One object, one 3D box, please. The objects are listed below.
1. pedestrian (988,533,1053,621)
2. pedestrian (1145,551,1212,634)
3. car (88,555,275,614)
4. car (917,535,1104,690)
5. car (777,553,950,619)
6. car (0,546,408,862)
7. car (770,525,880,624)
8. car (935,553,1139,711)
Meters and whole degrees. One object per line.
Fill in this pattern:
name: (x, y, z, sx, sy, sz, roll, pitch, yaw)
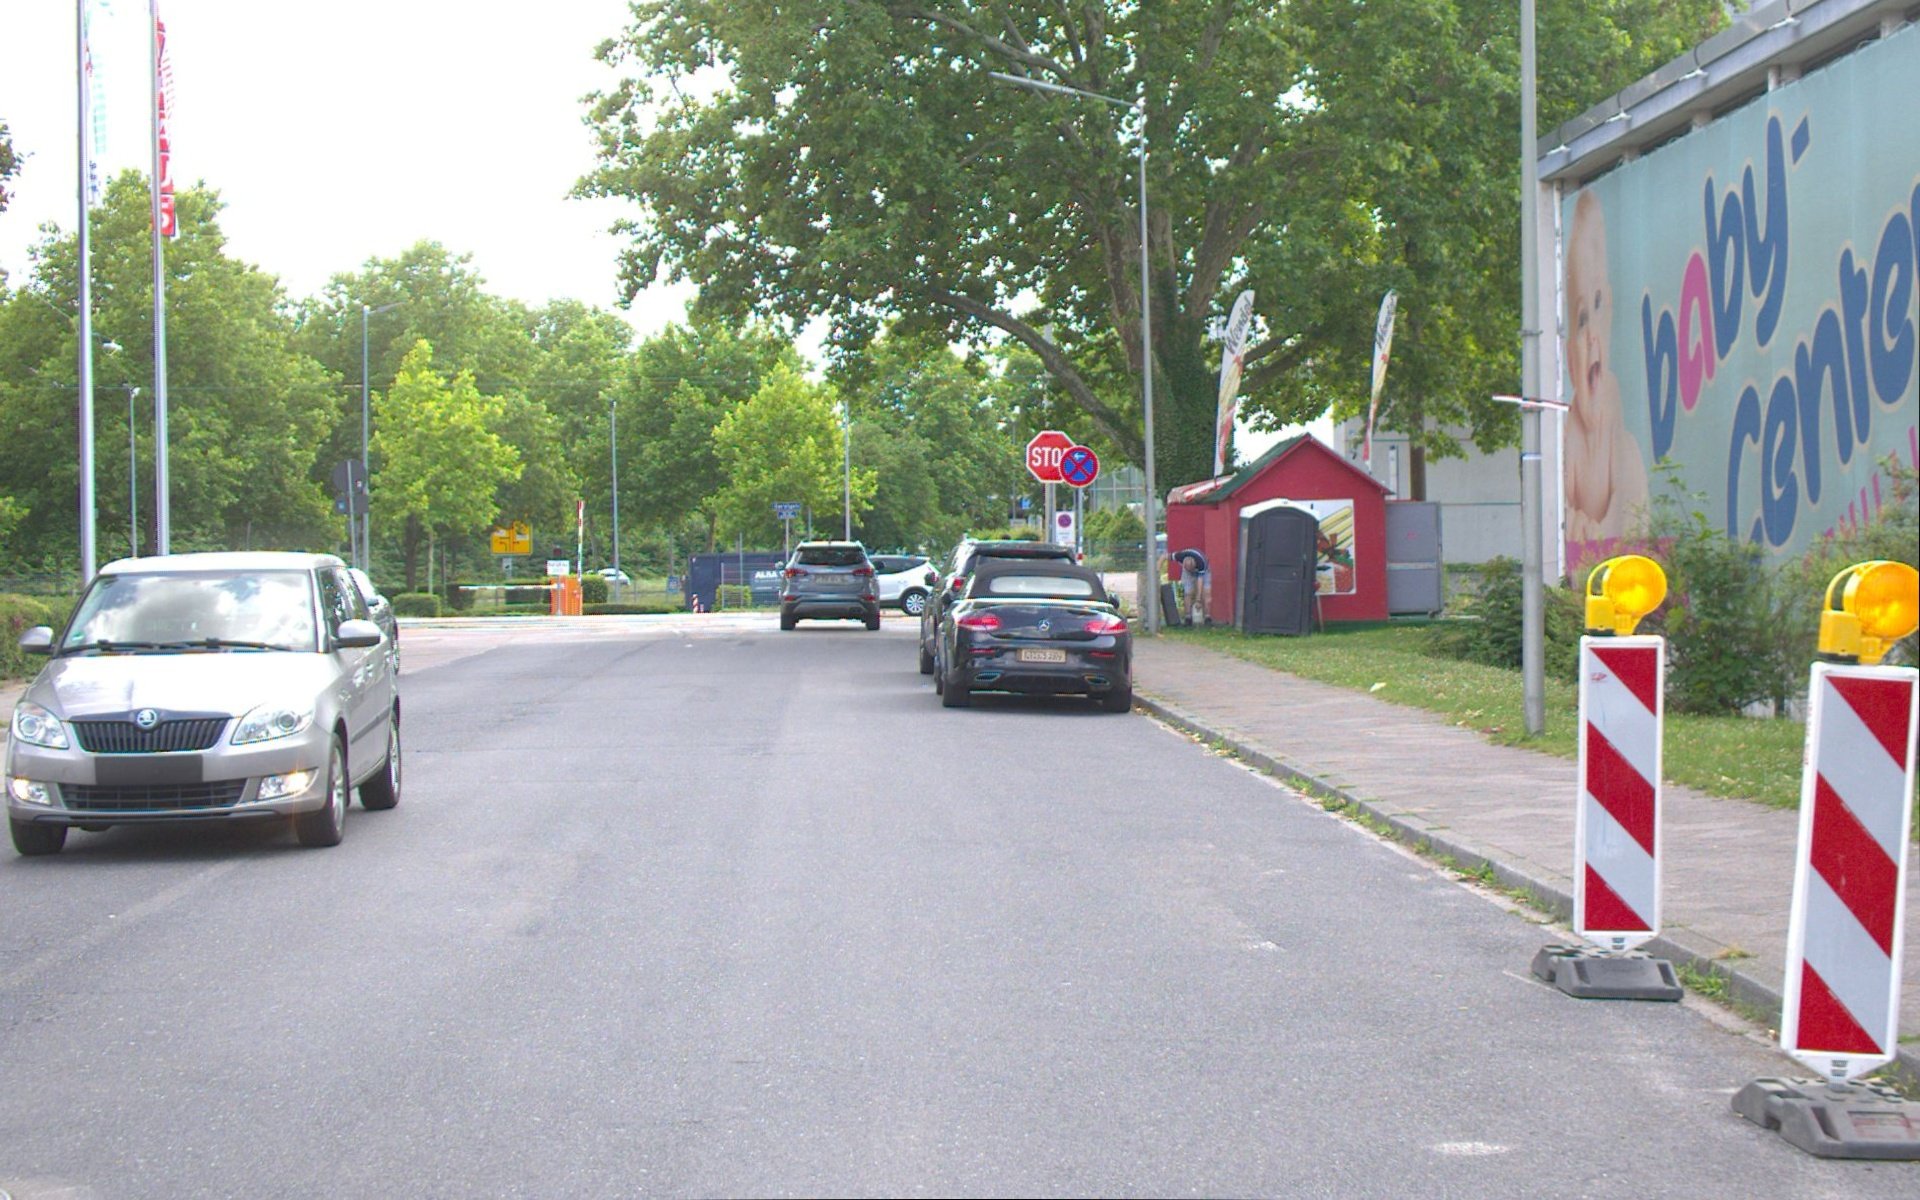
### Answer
pedestrian: (1.282, -0.487, 72.803, 1.000, 1.843, 1.230, 0, 0, -20)
pedestrian: (3.509, -0.128, 55.145, 1.014, 1.309, 0.964, 0, 0, 6)
car: (-19.061, -0.390, 84.294, 4.219, 1.401, 1.924, -1, 1, -4)
car: (0.534, 0.097, 40.340, 1.808, 1.659, 4.641, 2, 1, -3)
car: (-2.421, -0.365, 85.545, 4.219, 1.574, 1.924, -1, 1, -4)
car: (-3.981, 0.468, 18.346, 1.590, 1.460, 3.762, -2, 1, -3)
car: (-2.627, -0.509, 66.072, 1.961, 1.809, 4.276, -1, 1, -4)
car: (0.690, 0.262, 33.986, 1.808, 1.386, 4.588, 2, 1, -1)
